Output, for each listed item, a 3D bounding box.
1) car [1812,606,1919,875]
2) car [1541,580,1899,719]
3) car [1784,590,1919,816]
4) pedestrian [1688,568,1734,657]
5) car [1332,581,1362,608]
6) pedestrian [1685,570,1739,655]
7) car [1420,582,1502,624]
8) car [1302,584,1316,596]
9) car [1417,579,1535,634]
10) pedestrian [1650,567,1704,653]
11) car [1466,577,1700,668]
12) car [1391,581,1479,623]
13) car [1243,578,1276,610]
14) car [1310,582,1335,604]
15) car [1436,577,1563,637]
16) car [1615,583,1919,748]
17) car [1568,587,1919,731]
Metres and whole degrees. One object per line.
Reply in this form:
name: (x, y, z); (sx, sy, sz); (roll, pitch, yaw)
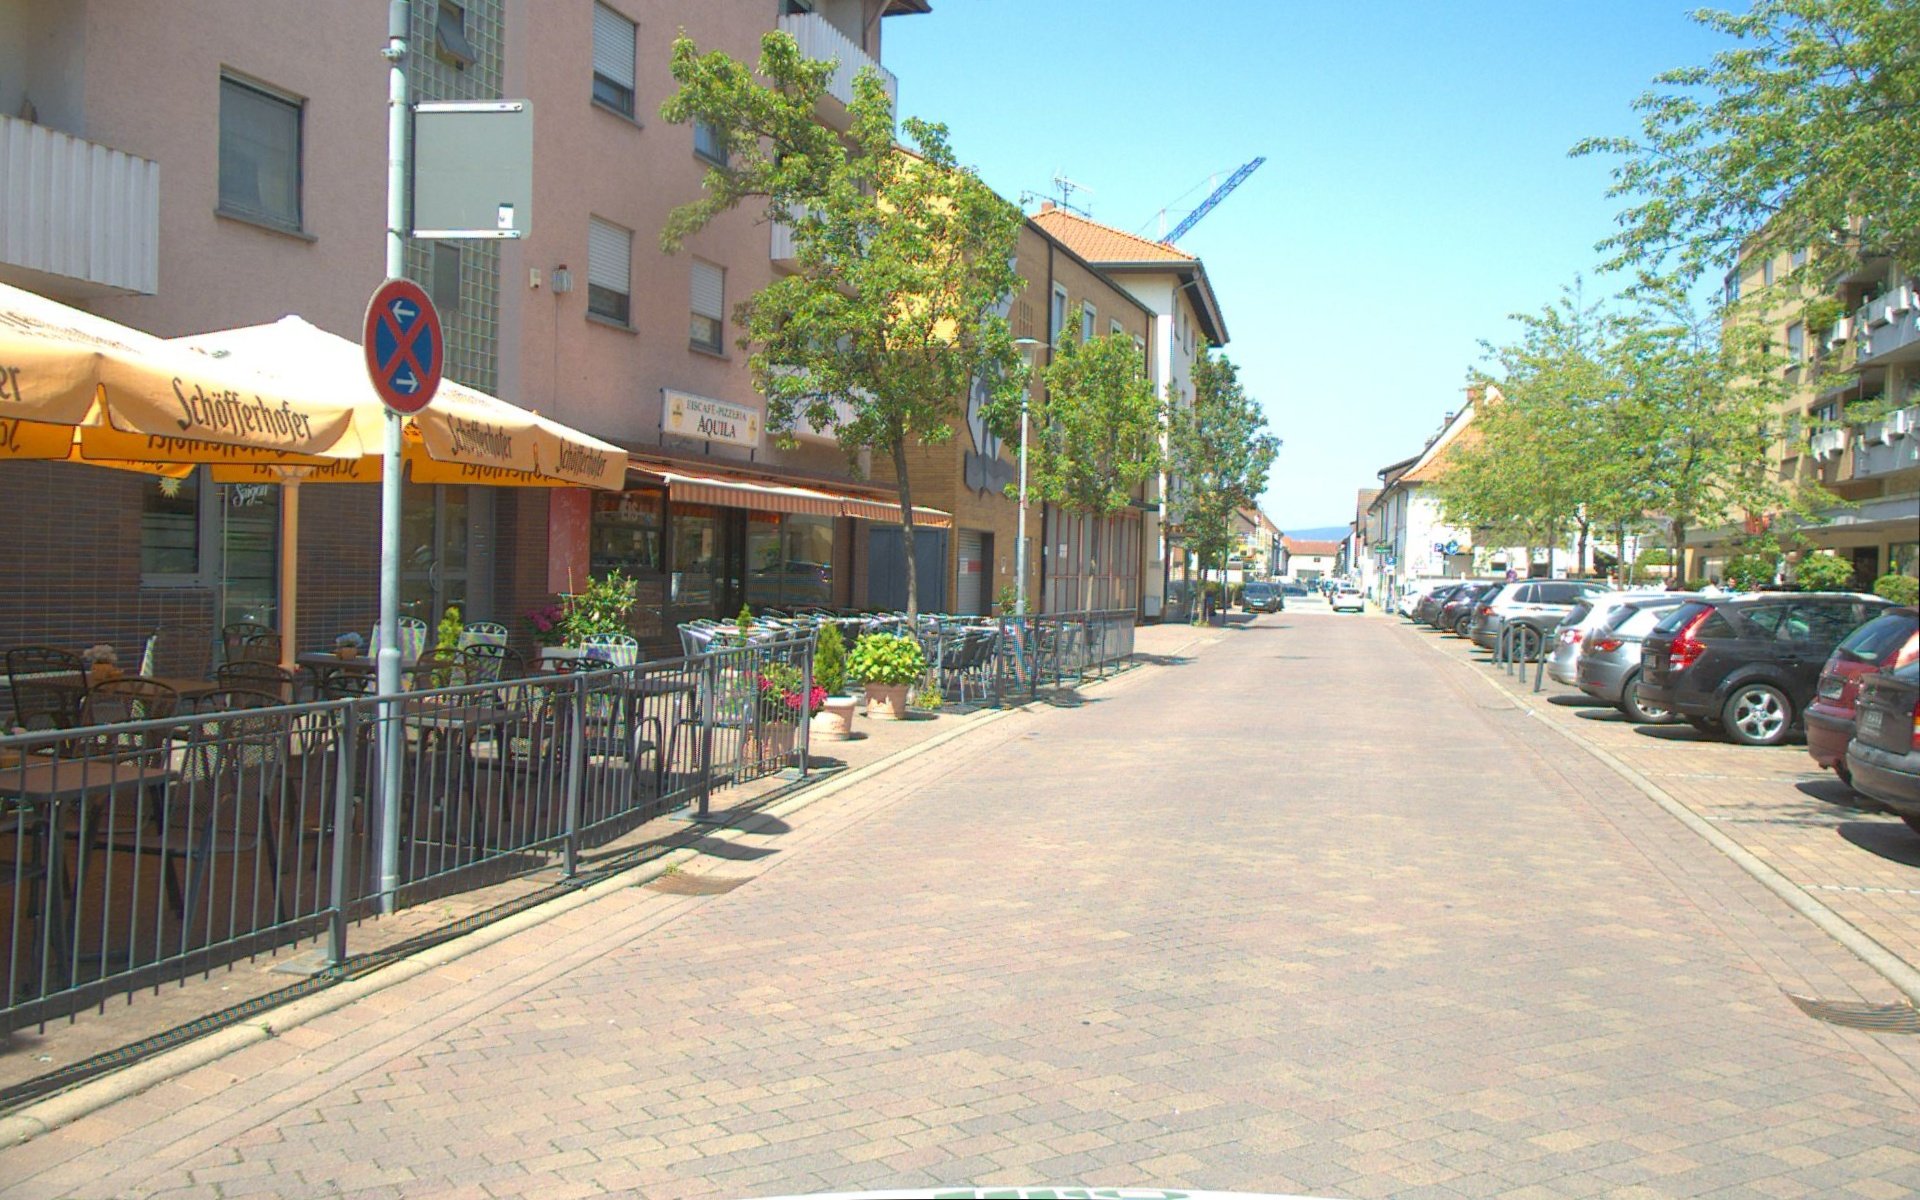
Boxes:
car: (7.447, 0.802, 9.709); (4.009, 1.456, 1.786); (0, 1, 13)
car: (10.012, 0.608, 22.121); (4.065, 1.601, 1.760); (2, 2, 15)
car: (8.243, 0.722, 12.091); (3.644, 1.561, 1.767); (0, 1, 13)
pedestrian: (15.815, 0.251, 34.818); (0.821, 1.818, 0.806); (2, 2, 25)
car: (24.230, -0.363, 103.548); (1.792, 1.558, 3.949); (2, 2, 13)
pedestrian: (16.513, 0.260, 36.348); (0.819, 1.818, 0.807); (1, 2, 7)
car: (21.883, 0.122, 72.374); (3.276, 1.745, 1.471); (2, 0, 12)
car: (47.475, -1.433, 224.986); (1.710, 1.506, 3.632); (2, 2, 14)
car: (16.596, 0.202, 53.342); (3.447, 1.653, 1.712); (2, 0, 12)
pedestrian: (15.581, 0.208, 35.954); (0.819, 1.818, 0.807); (1, 2, 7)
car: (12.363, 0.415, 33.055); (4.153, 1.643, 1.560); (2, 1, 12)
car: (19.977, 0.075, 69.663); (3.404, 1.730, 1.537); (1, 0, 8)
car: (15.623, -0.339, 86.208); (1.475, 1.526, 3.831); (2, 2, 13)
car: (26.965, -0.539, 123.113); (1.710, 1.506, 3.632); (2, 2, 14)
car: (16.237, 0.192, 49.898); (3.447, 1.684, 1.712); (2, 0, 12)
car: (9.243, 0.650, 17.304); (4.093, 1.568, 1.948); (1, 1, 9)
car: (9.287, 0.644, 19.550); (3.855, 1.515, 1.716); (1, 1, 18)
